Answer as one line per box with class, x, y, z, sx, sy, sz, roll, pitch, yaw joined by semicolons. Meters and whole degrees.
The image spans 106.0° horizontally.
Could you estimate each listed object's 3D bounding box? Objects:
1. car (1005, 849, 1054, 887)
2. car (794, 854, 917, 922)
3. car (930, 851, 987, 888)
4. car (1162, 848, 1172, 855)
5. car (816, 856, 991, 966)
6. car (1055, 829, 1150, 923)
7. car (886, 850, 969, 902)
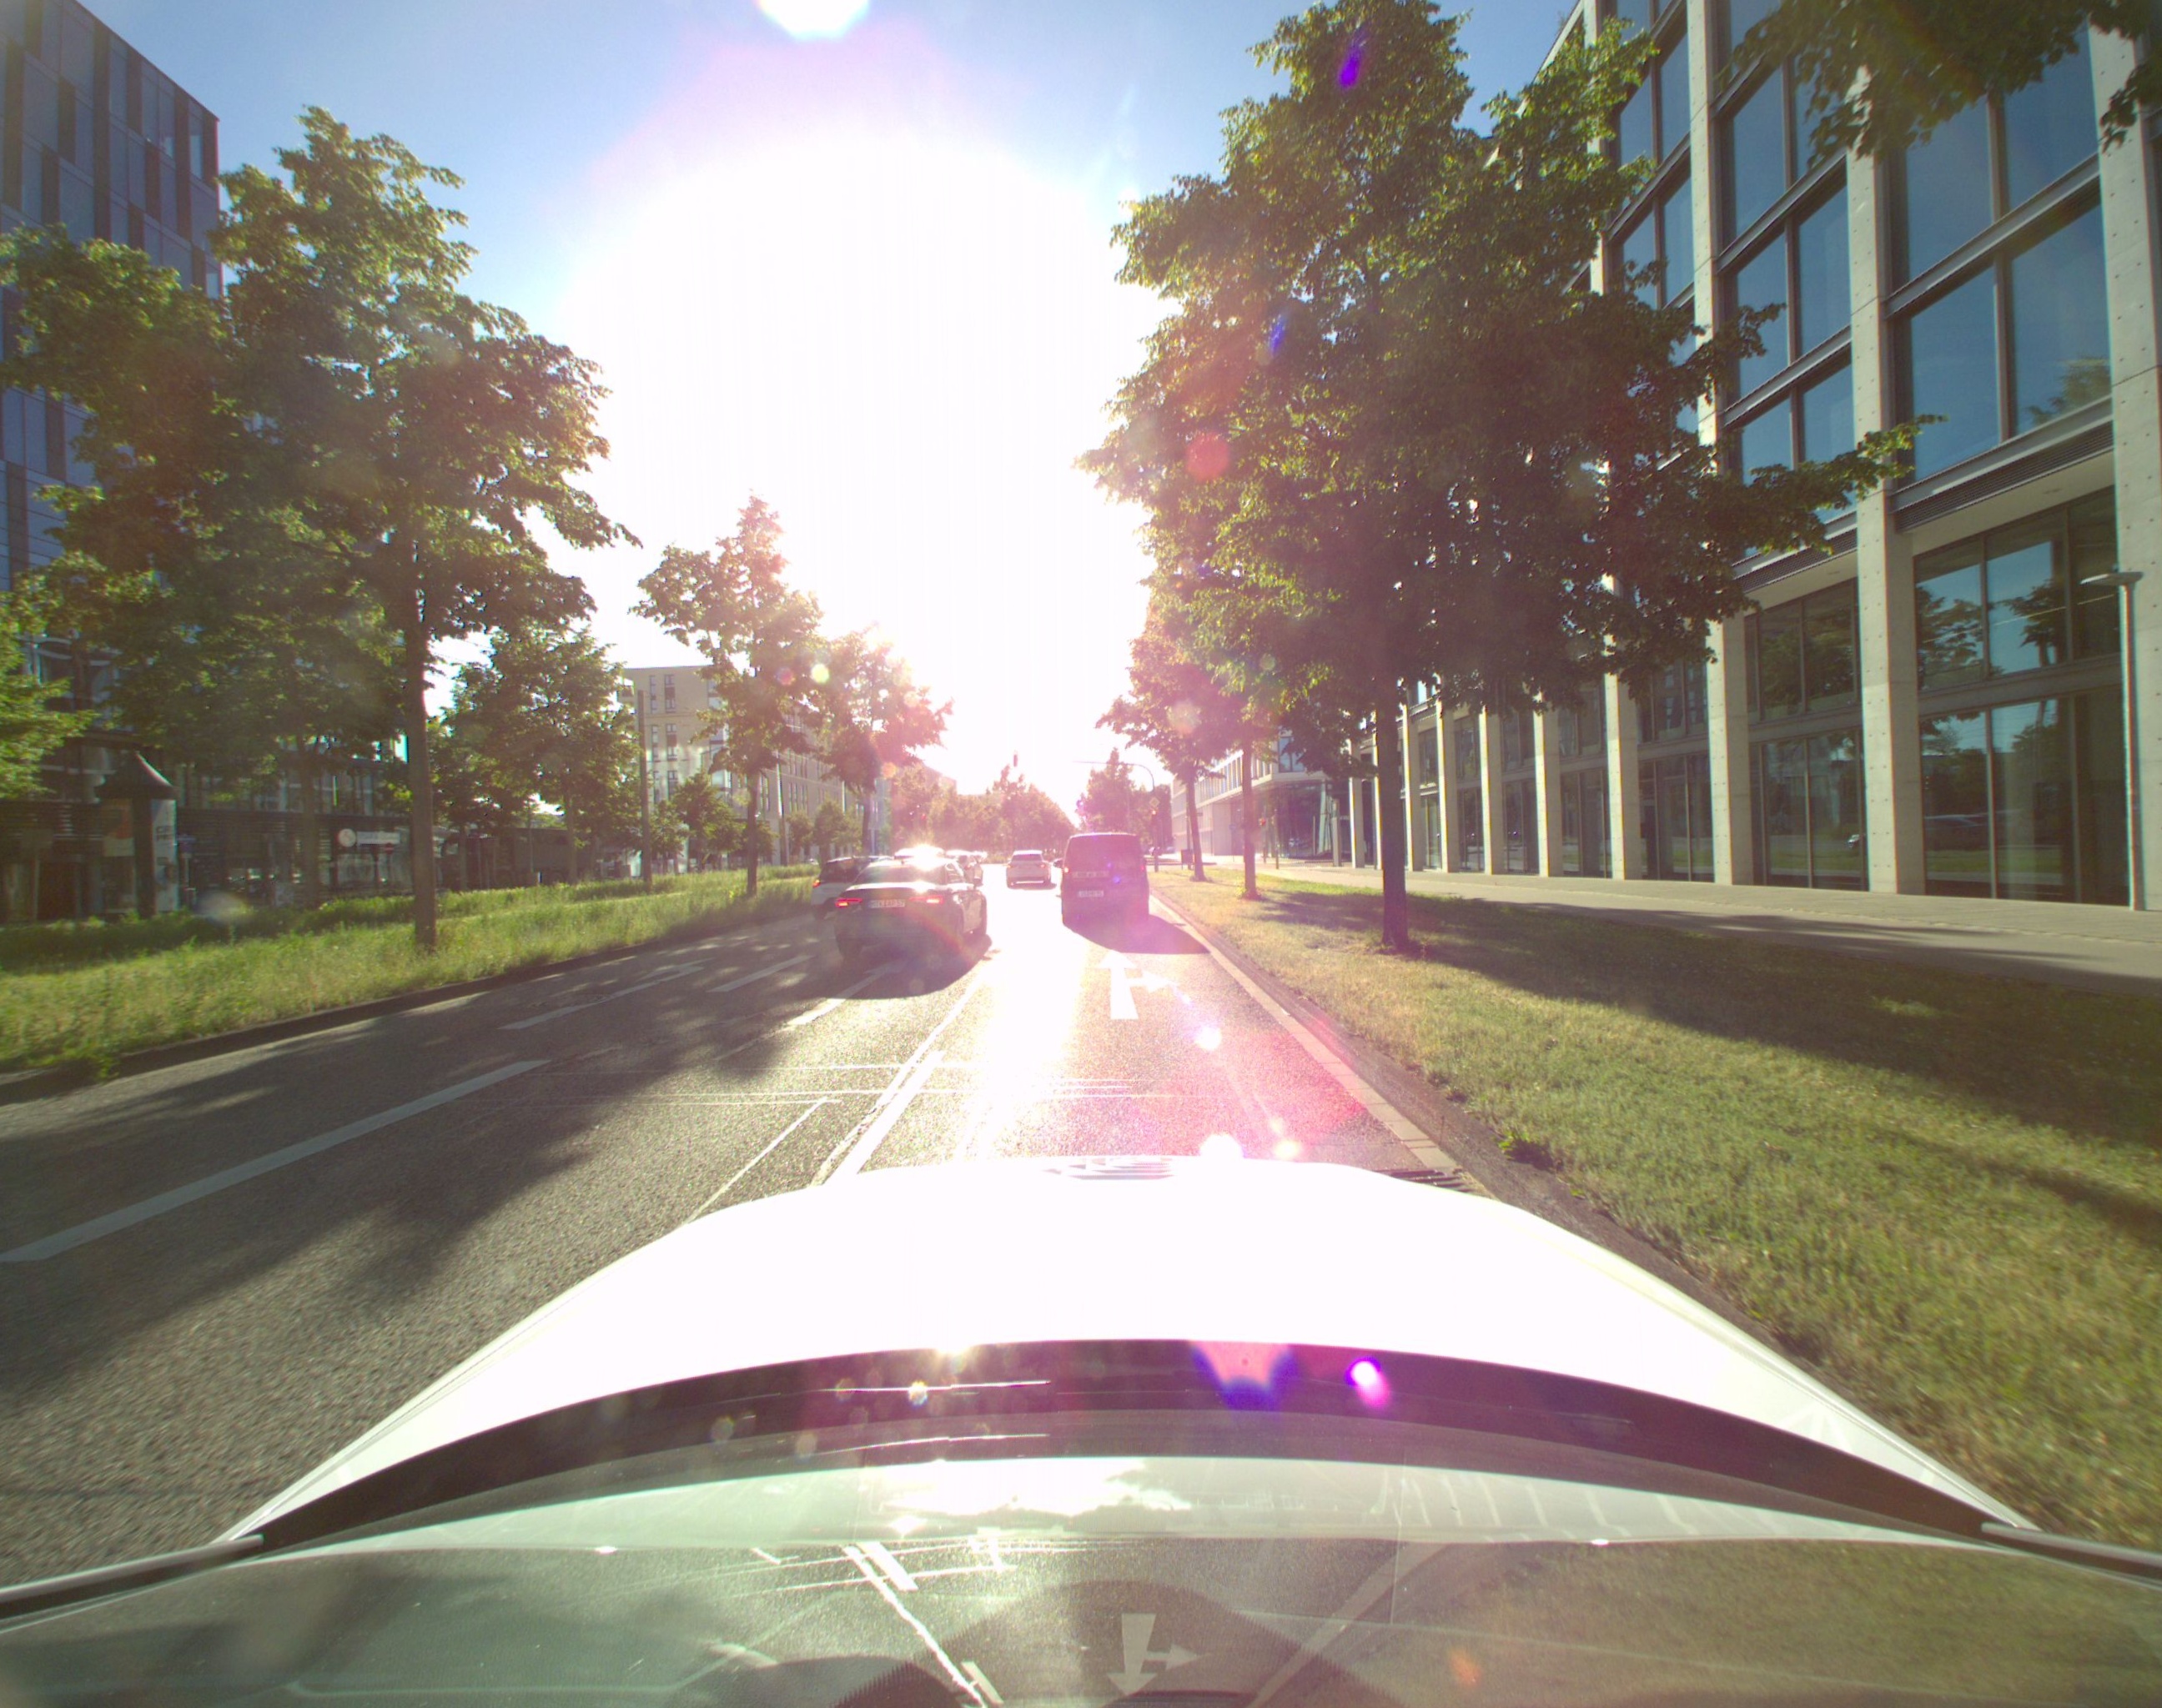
car;-2.121;0.549;34.329;1.715;1.425;3.817;-2;0;1
car;-5.466;0.759;20.287;1.936;1.441;3.998;-2;0;-1
car;-5.174;0.608;34.861;1.709;1.398;4.001;-2;0;1
car;17.751;-0.506;168.832;1.559;1.368;3.331;-2;0;-2
car;-2.593;0.765;12.920;1.715;1.366;4.147;-2;1;1
car;0.517;0.440;17.620;1.790;1.777;4.003;-1;0;3
car;-5.034;0.671;27.224;1.835;1.534;3.942;-2;0;2
